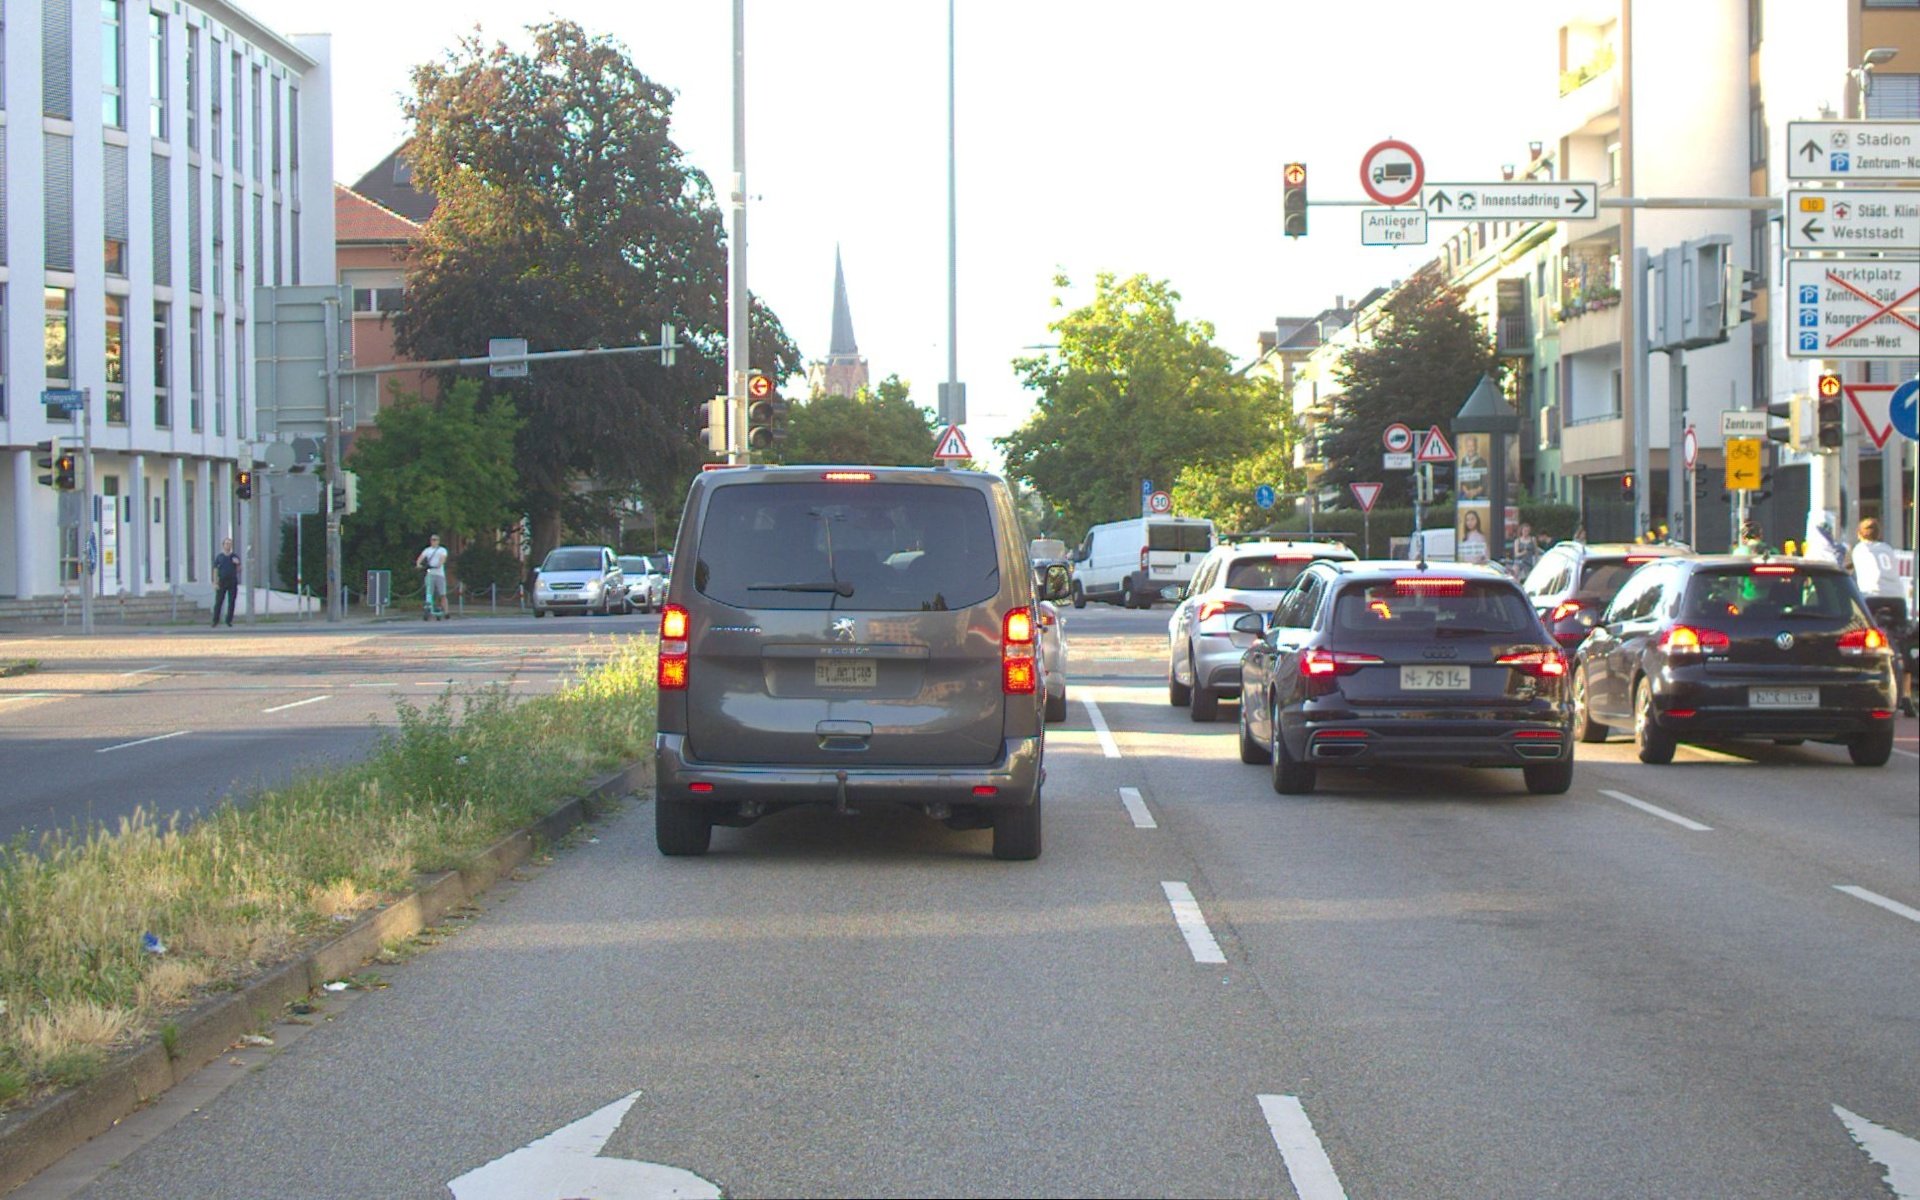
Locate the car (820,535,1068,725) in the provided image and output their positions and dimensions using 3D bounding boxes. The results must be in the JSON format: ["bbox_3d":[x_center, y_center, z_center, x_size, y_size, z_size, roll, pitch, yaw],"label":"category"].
[{"bbox_3d":[-0.119,0.205,29.818,1.993,1.525,4.000,0,1,0],"label":"car"}]

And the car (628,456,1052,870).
[{"bbox_3d":[-0.537,0.247,17.954,1.907,1.857,4.527,1,1,0],"label":"car"}]

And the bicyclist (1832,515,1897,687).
[{"bbox_3d":[8.048,0.004,30.599,0.441,1.520,0.482,0,1,0],"label":"bicyclist"}]

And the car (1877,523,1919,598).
[{"bbox_3d":[19.984,-0.787,66.445,3.986,1.415,1.788,-1,1,-6],"label":"car"}]

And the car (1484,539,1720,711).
[{"bbox_3d":[5.703,0.182,30.827,1.505,1.444,3.305,0,1,0],"label":"car"}]

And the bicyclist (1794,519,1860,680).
[{"bbox_3d":[8.258,-0.011,32.754,0.441,1.520,0.725,0,1,0],"label":"bicyclist"}]

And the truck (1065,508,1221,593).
[{"bbox_3d":[4.601,-1.257,87.159,2.127,2.079,4.632,-1,1,-22],"label":"truck"}]

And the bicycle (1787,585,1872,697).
[{"bbox_3d":[8.254,0.374,32.678,0.336,1.004,1.856,0,1,0],"label":"bicycle"}]

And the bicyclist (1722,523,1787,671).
[{"bbox_3d":[8.245,-0.036,35.690,0.513,1.520,0.725,0,1,0],"label":"bicyclist"}]

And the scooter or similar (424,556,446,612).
[{"bbox_3d":[-11.318,-0.354,74.142,0.285,1.184,1.169,0,1,0],"label":"scooter or similar"}]

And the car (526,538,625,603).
[{"bbox_3d":[-8.702,-0.692,78.136,1.856,1.415,4.000,-1,1,-1],"label":"car"}]

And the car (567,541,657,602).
[{"bbox_3d":[-8.446,-0.706,83.727,1.856,1.415,4.000,-1,1,-1],"label":"car"}]

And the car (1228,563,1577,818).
[{"bbox_3d":[2.718,0.500,21.974,1.681,1.416,4.214,1,1,0],"label":"car"}]

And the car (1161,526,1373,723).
[{"bbox_3d":[2.654,0.165,30.411,1.529,1.608,3.745,1,1,0],"label":"car"}]

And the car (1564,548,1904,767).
[{"bbox_3d":[5.580,0.364,25.191,1.634,1.444,3.745,1,1,0],"label":"car"}]

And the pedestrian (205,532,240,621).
[{"bbox_3d":[-14.384,-0.458,67.065,0.625,1.716,0.671,-1,1,-13],"label":"pedestrian"}]

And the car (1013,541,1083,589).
[{"bbox_3d":[3.081,-1.255,121.139,1.993,1.656,4.001,-1,1,-5],"label":"car"}]

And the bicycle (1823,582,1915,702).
[{"bbox_3d":[8.064,0.357,30.541,0.336,1.004,1.856,0,1,0],"label":"bicycle"}]

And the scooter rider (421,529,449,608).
[{"bbox_3d":[-11.326,-0.683,74.211,0.481,1.691,0.636,0,1,0],"label":"scooter rider"}]
